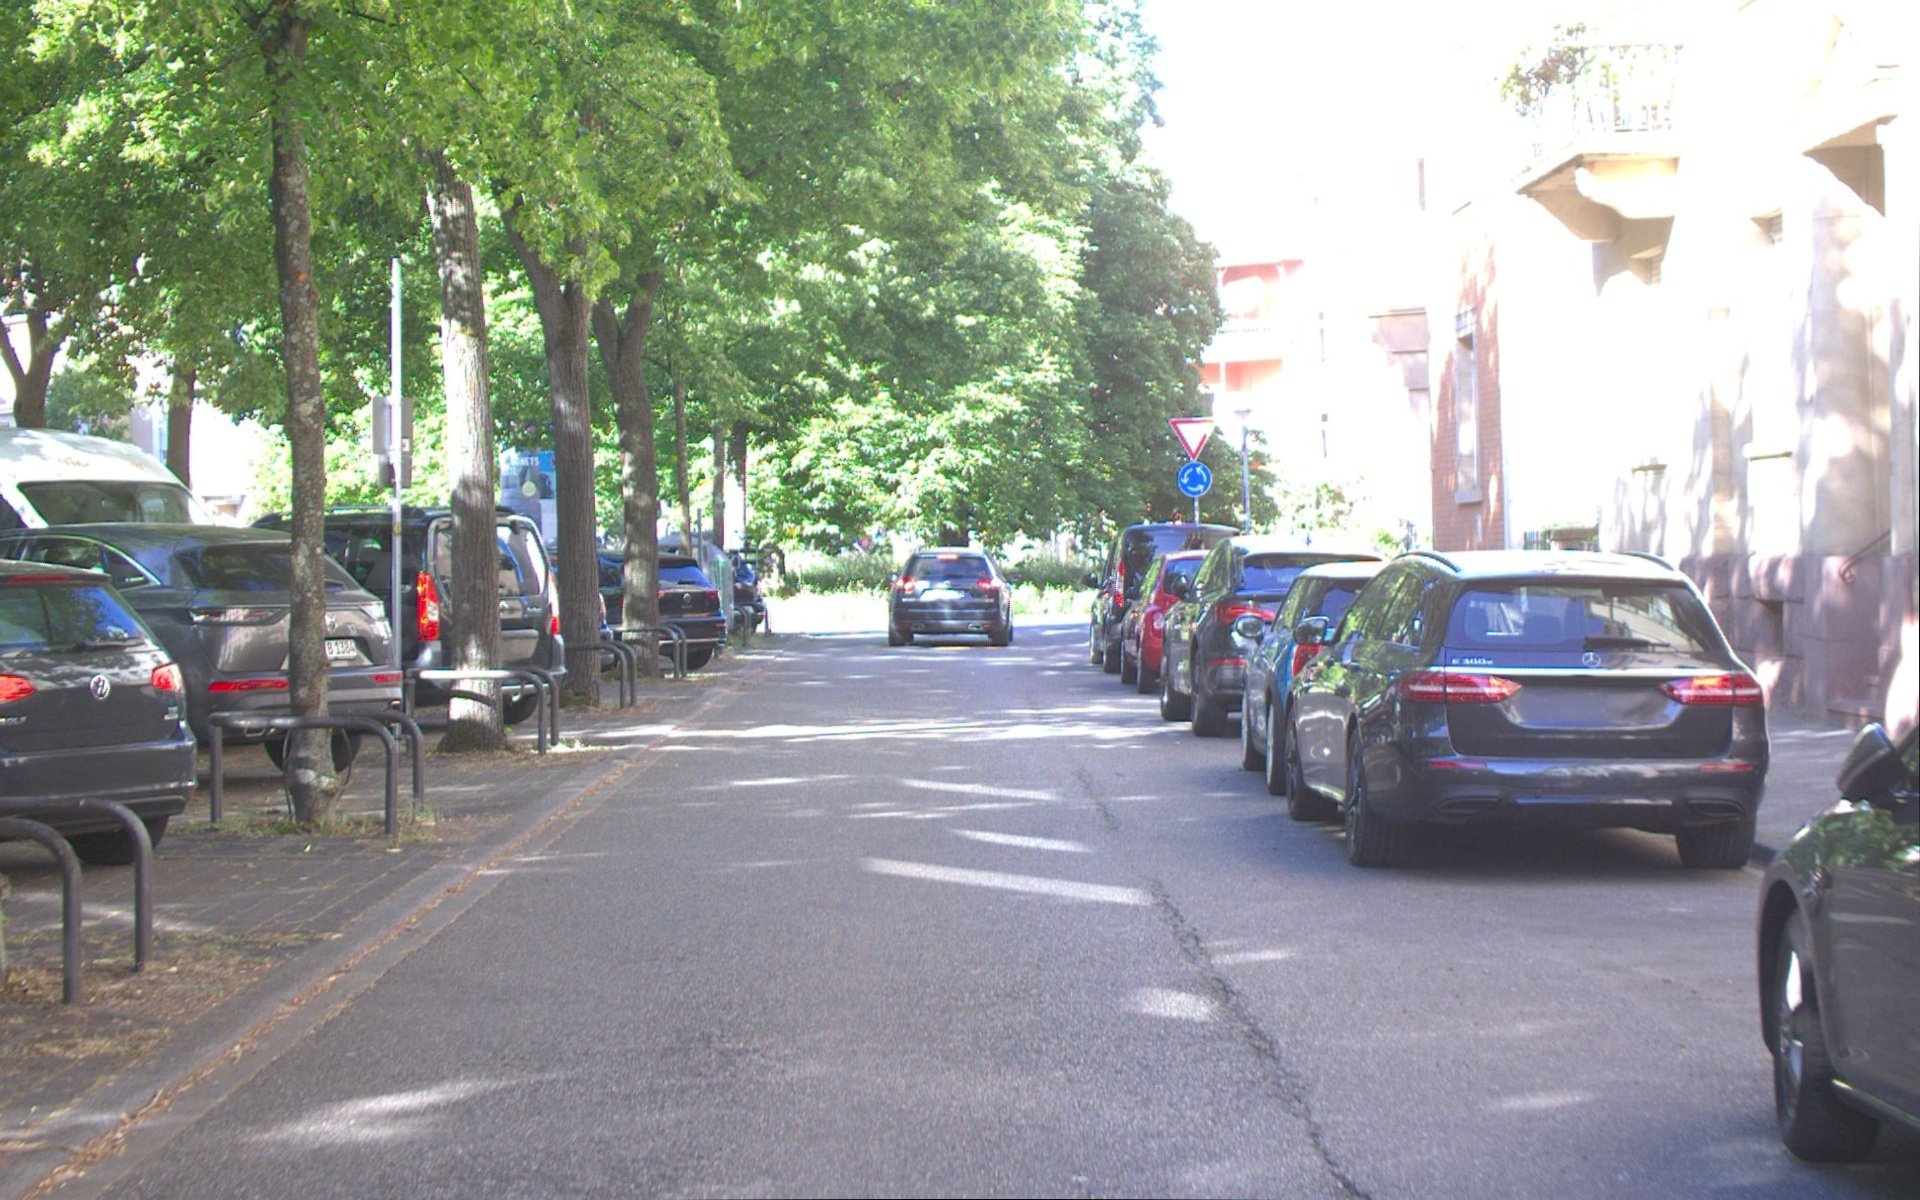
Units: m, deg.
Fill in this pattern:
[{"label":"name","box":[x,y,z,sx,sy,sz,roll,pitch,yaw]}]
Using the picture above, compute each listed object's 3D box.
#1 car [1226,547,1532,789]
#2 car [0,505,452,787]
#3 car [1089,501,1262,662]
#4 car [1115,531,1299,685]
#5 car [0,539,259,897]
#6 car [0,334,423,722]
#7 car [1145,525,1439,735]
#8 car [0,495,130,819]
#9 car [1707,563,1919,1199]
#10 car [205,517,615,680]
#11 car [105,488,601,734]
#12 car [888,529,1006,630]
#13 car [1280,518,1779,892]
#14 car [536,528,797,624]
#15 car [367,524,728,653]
[{"label":"car","box":[2.650,0.378,22.411,1.590,1.410,3.632,0,1,1]},{"label":"car","box":[-5.441,0.224,21.752,4.269,1.636,1.653,1,1,28]},{"label":"car","box":[2.661,-0.277,43.245,1.801,1.864,4.273,2,1,-1]},{"label":"car","box":[2.662,0.044,37.742,1.645,1.532,4.000,2,1,-1]},{"label":"car","box":[-5.414,0.486,15.892,4.102,1.476,1.729,0,1,29]},{"label":"car","box":[-7.535,-0.365,26.494,6.069,2.614,2.453,-5,-1,15]},{"label":"car","box":[2.740,0.191,29.342,1.864,1.638,4.492,0,1,-3]},{"label":"car","box":[-7.158,0.335,19.883,4.386,1.771,1.897,-1,1,27]},{"label":"car","box":[2.789,0.684,6.899,1.692,1.463,4.005,0,1,0]},{"label":"car","box":[-5.506,-0.040,34.570,3.728,1.576,1.635,0,1,12]},{"label":"car","box":[-5.088,0.064,28.693,3.846,1.882,1.840,0,3,35]},{"label":"car","box":[-0.162,-0.339,52.630,1.714,1.478,4.144,0,1,1]},{"label":"car","box":[2.697,0.410,17.220,1.805,1.558,4.321,-2,2,1]},{"label":"car","box":[-4.736,-0.375,55.190,4.138,1.476,1.772,0,1,40]},{"label":"car","box":[-4.763,-0.137,40.178,4.088,1.461,1.867,0,0,-3]}]
